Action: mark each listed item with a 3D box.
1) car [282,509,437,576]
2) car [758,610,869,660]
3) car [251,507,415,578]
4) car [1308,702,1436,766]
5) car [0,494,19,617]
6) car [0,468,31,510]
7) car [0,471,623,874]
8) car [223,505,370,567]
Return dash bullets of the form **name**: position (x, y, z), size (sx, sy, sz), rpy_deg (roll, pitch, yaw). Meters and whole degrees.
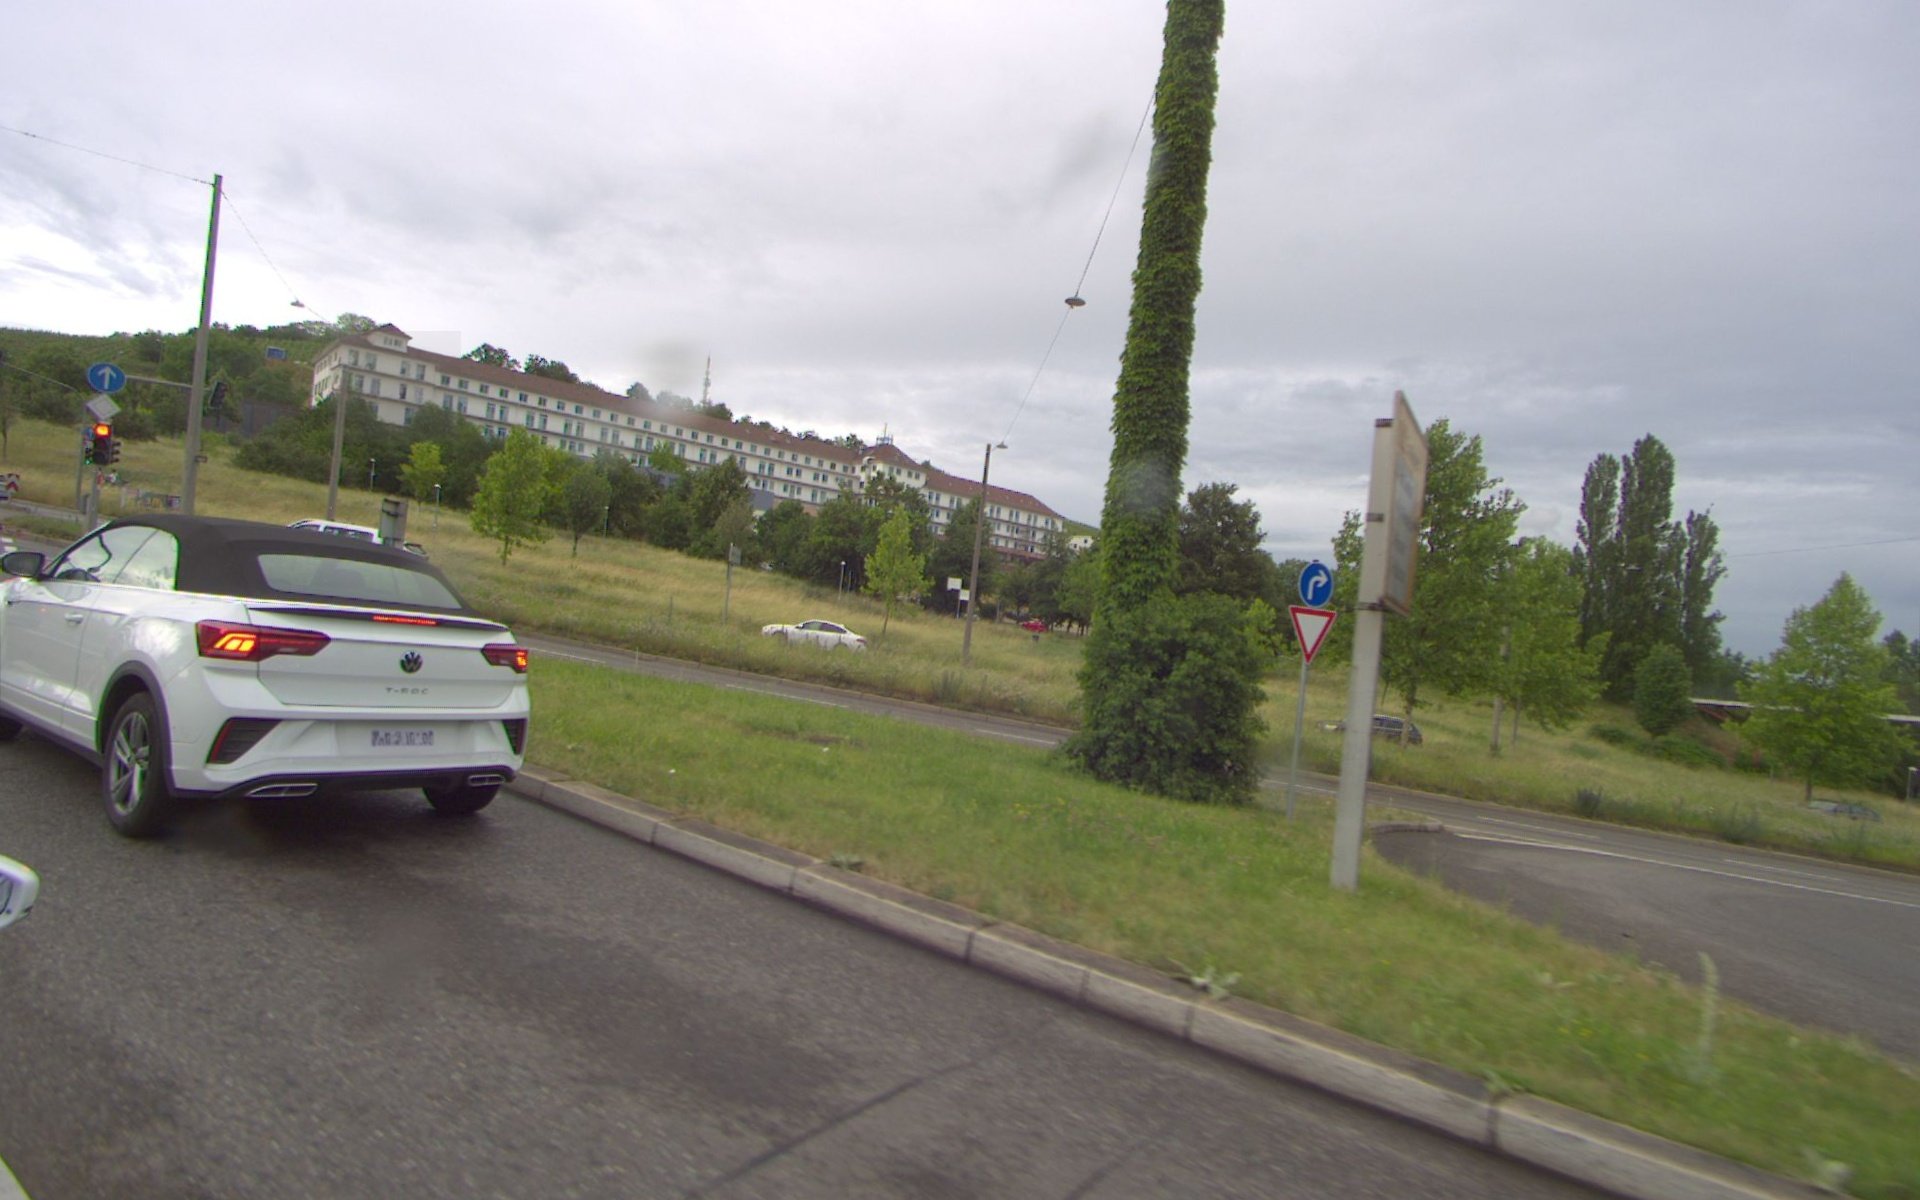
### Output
- **car**: position (-23.230, -2.202, 39.057), size (4.584, 1.733, 1.998), rpy_deg (10, 1, -3)
- **car**: position (-6.135, 1.468, 42.617), size (4.285, 1.305, 1.873), rpy_deg (10, 1, 0)
- **car**: position (-22.787, -2.049, 36.708), size (4.483, 1.733, 1.998), rpy_deg (10, 1, -3)
- **car**: position (17.807, 5.782, 43.582), size (4.584, 1.733, 1.872), rpy_deg (10, 1, -3)
- **car**: position (-13.922, -0.812, 13.268), size (3.673, 1.536, 1.774), rpy_deg (6, -3, 42)
- **car**: position (-43.663, -5.222, 43.760), size (4.481, 1.624, 2.000), rpy_deg (10, 0, 0)
- **car**: position (-4.287, 0.264, 6.149), size (4.059, 1.596, 2.000), rpy_deg (7, -3, 34)
- **car**: position (-28.433, -2.719, 43.192), size (4.806, 1.713, 2.001), rpy_deg (10, 0, 1)
